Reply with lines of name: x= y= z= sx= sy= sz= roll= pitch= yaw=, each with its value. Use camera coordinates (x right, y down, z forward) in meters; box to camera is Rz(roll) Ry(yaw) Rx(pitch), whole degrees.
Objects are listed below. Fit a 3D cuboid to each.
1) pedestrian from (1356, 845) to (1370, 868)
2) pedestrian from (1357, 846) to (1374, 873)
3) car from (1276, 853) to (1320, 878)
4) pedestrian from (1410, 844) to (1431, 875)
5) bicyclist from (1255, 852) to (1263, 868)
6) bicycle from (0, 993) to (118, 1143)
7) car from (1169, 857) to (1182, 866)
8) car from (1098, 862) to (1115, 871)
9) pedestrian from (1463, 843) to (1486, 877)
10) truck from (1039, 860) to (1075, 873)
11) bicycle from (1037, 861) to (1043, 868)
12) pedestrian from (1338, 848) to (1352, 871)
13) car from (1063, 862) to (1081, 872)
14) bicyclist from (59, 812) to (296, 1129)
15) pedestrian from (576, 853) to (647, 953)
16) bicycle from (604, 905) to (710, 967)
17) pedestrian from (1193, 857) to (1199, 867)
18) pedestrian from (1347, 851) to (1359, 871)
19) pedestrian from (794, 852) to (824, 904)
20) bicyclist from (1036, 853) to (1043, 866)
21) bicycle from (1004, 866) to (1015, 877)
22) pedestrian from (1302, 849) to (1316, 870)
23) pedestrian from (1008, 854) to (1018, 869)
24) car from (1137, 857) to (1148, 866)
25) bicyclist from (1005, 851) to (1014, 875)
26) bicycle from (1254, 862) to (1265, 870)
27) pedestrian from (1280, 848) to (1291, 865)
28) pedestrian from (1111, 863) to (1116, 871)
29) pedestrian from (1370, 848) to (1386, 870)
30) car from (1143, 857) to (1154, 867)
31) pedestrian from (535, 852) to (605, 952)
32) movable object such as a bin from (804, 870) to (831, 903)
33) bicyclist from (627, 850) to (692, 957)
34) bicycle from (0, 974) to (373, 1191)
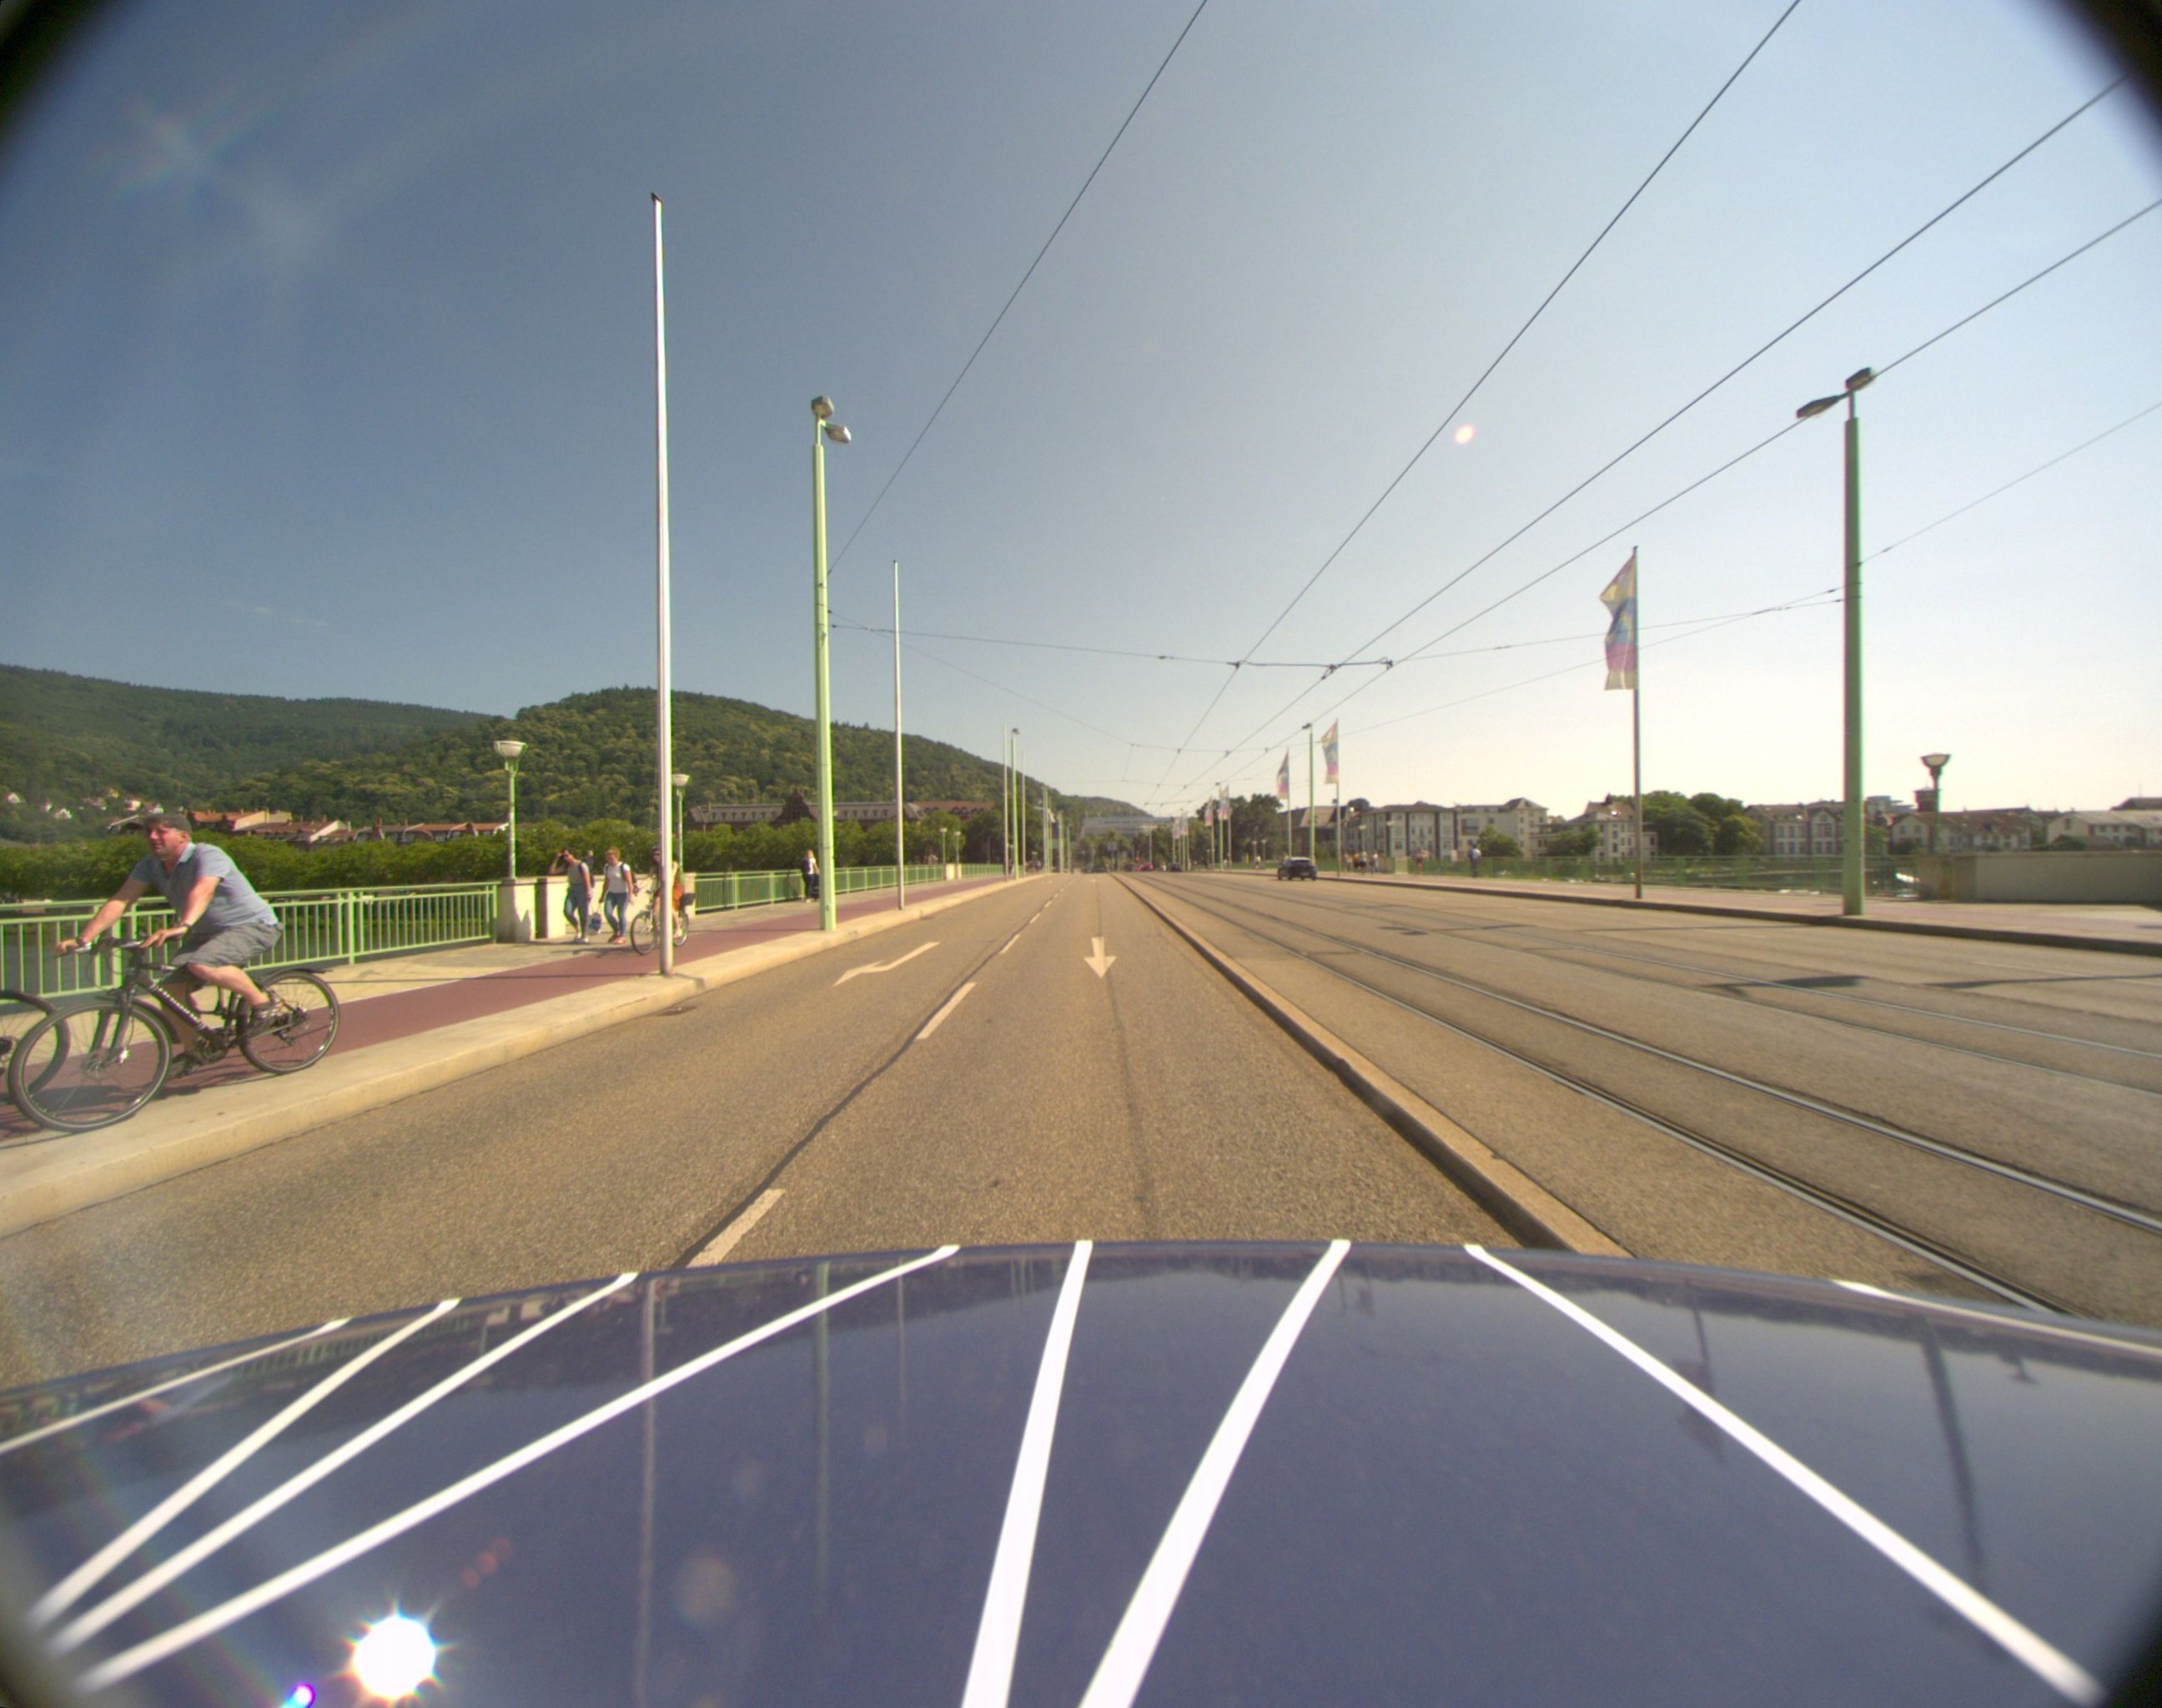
pedestrian: x=20.938 y=0.177 z=56.506 sx=0.592 sy=1.690 sz=1.022 roll=-3 pitch=1 yaw=1
pedestrian: x=18.800 y=0.351 z=50.276 sx=0.671 sy=1.690 sz=1.022 roll=-3 pitch=1 yaw=1
car: x=13.648 y=0.697 z=48.001 sx=1.720 sy=1.446 sz=3.901 roll=0 pitch=0 yaw=1
pedestrian: x=18.868 y=0.308 z=42.238 sx=0.686 sy=1.681 sz=1.022 roll=-3 pitch=1 yaw=1
bicyclist: x=18.280 y=0.636 z=78.038 sx=0.666 sy=1.641 sz=0.622 roll=-1 pitch=1 yaw=2
bicycle: x=-6.509 y=1.284 z=3.988 sx=0.595 sy=0.761 sz=1.831 roll=0 pitch=0 yaw=-1
car: x=14.676 y=1.159 z=118.320 sx=1.672 sy=1.428 sz=4.000 roll=-1 pitch=1 yaw=2
car: x=6.195 y=3.050 z=186.879 sx=3.998 sy=2.002 sz=1.999 roll=-3 pitch=1 yaw=-3
pedestrian: x=20.110 y=0.300 z=38.808 sx=0.592 sy=1.690 sz=1.022 roll=-3 pitch=1 yaw=1
truck: x=-5.478 y=2.934 z=174.581 sx=7.683 sy=2.248 sz=2.662 roll=-5 pitch=0 yaw=6
bicycle: x=-5.335 y=1.355 z=98.662 sx=0.595 sy=0.761 sz=1.866 roll=-1 pitch=0 yaw=1
pedestrian: x=19.355 y=0.406 z=55.671 sx=0.627 sy=1.590 sz=1.022 roll=-3 pitch=1 yaw=1
car: x=-2.082 y=3.195 z=183.378 sx=3.996 sy=2.002 sz=2.000 roll=-5 pitch=0 yaw=3
bicyclist: x=-5.502 y=0.663 z=4.675 sx=0.588 sy=1.809 sz=0.702 roll=0 pitch=1 yaw=-1
pedestrian: x=-7.979 y=0.801 z=12.944 sx=0.664 sy=1.649 sz=0.825 roll=0 pitch=1 yaw=1
bicycle: x=-6.614 y=1.260 z=11.970 sx=0.595 sy=0.761 sz=1.866 roll=0 pitch=0 yaw=1
pedestrian: x=19.709 y=1.362 z=130.120 sx=0.787 sy=1.690 sz=1.022 roll=-3 pitch=1 yaw=1
pedestrian: x=19.979 y=0.520 z=55.726 sx=0.547 sy=1.429 sz=0.789 roll=-3 pitch=1 yaw=1
pedestrian: x=-8.973 y=0.767 z=25.096 sx=0.664 sy=1.696 sz=0.859 roll=0 pitch=1 yaw=1
bicyclist: x=-5.348 y=0.697 z=98.541 sx=0.731 sy=1.655 sz=0.844 roll=-2 pitch=1 yaw=2
bicycle: x=-5.359 y=1.281 z=57.100 sx=0.595 sy=0.761 sz=1.866 roll=0 pitch=0 yaw=1
pedestrian: x=18.832 y=0.472 z=62.690 sx=0.787 sy=1.690 sz=1.022 roll=-3 pitch=1 yaw=1
pedestrian: x=-7.712 y=0.875 z=85.870 sx=0.949 sy=1.653 sz=1.082 roll=1 pitch=1 yaw=1
car: x=12.392 y=1.582 z=153.571 sx=1.814 sy=1.611 sz=4.000 roll=-5 pitch=0 yaw=2
bicyclist: x=-5.360 y=0.659 z=57.046 sx=0.587 sy=1.759 sz=0.672 roll=0 pitch=1 yaw=2
bicycle: x=18.288 y=1.207 z=78.049 sx=0.667 sy=0.712 sz=2.173 roll=-1 pitch=0 yaw=1
pedestrian: x=20.702 y=0.258 z=77.002 sx=0.787 sy=1.690 sz=1.022 roll=-3 pitch=1 yaw=1
pedestrian: x=8.726 y=3.468 z=204.649 sx=1.035 sy=2.002 sz=1.201 roll=-3 pitch=2 yaw=-5
pedestrian: x=19.520 y=0.330 z=49.919 sx=0.592 sy=1.406 sz=1.022 roll=-3 pitch=1 yaw=1
car: x=12.605 y=1.523 z=142.832 sx=1.714 sy=1.686 sz=4.000 roll=-5 pitch=0 yaw=2
pedestrian: x=-8.704 y=0.798 z=12.969 sx=0.669 sy=1.649 sz=0.746 roll=0 pitch=1 yaw=1
movable object such as a bin: x=-8.983 y=1.092 z=25.936 sx=0.583 sy=1.084 sz=0.933 roll=0 pitch=1 yaw=0
bicyclist: x=-6.622 y=0.753 z=11.959 sx=0.606 sy=1.641 sz=0.702 roll=0 pitch=1 yaw=2
bicycle: x=-5.500 y=1.272 z=4.661 sx=0.595 sy=0.761 sz=1.866 roll=0 pitch=0 yaw=-1
